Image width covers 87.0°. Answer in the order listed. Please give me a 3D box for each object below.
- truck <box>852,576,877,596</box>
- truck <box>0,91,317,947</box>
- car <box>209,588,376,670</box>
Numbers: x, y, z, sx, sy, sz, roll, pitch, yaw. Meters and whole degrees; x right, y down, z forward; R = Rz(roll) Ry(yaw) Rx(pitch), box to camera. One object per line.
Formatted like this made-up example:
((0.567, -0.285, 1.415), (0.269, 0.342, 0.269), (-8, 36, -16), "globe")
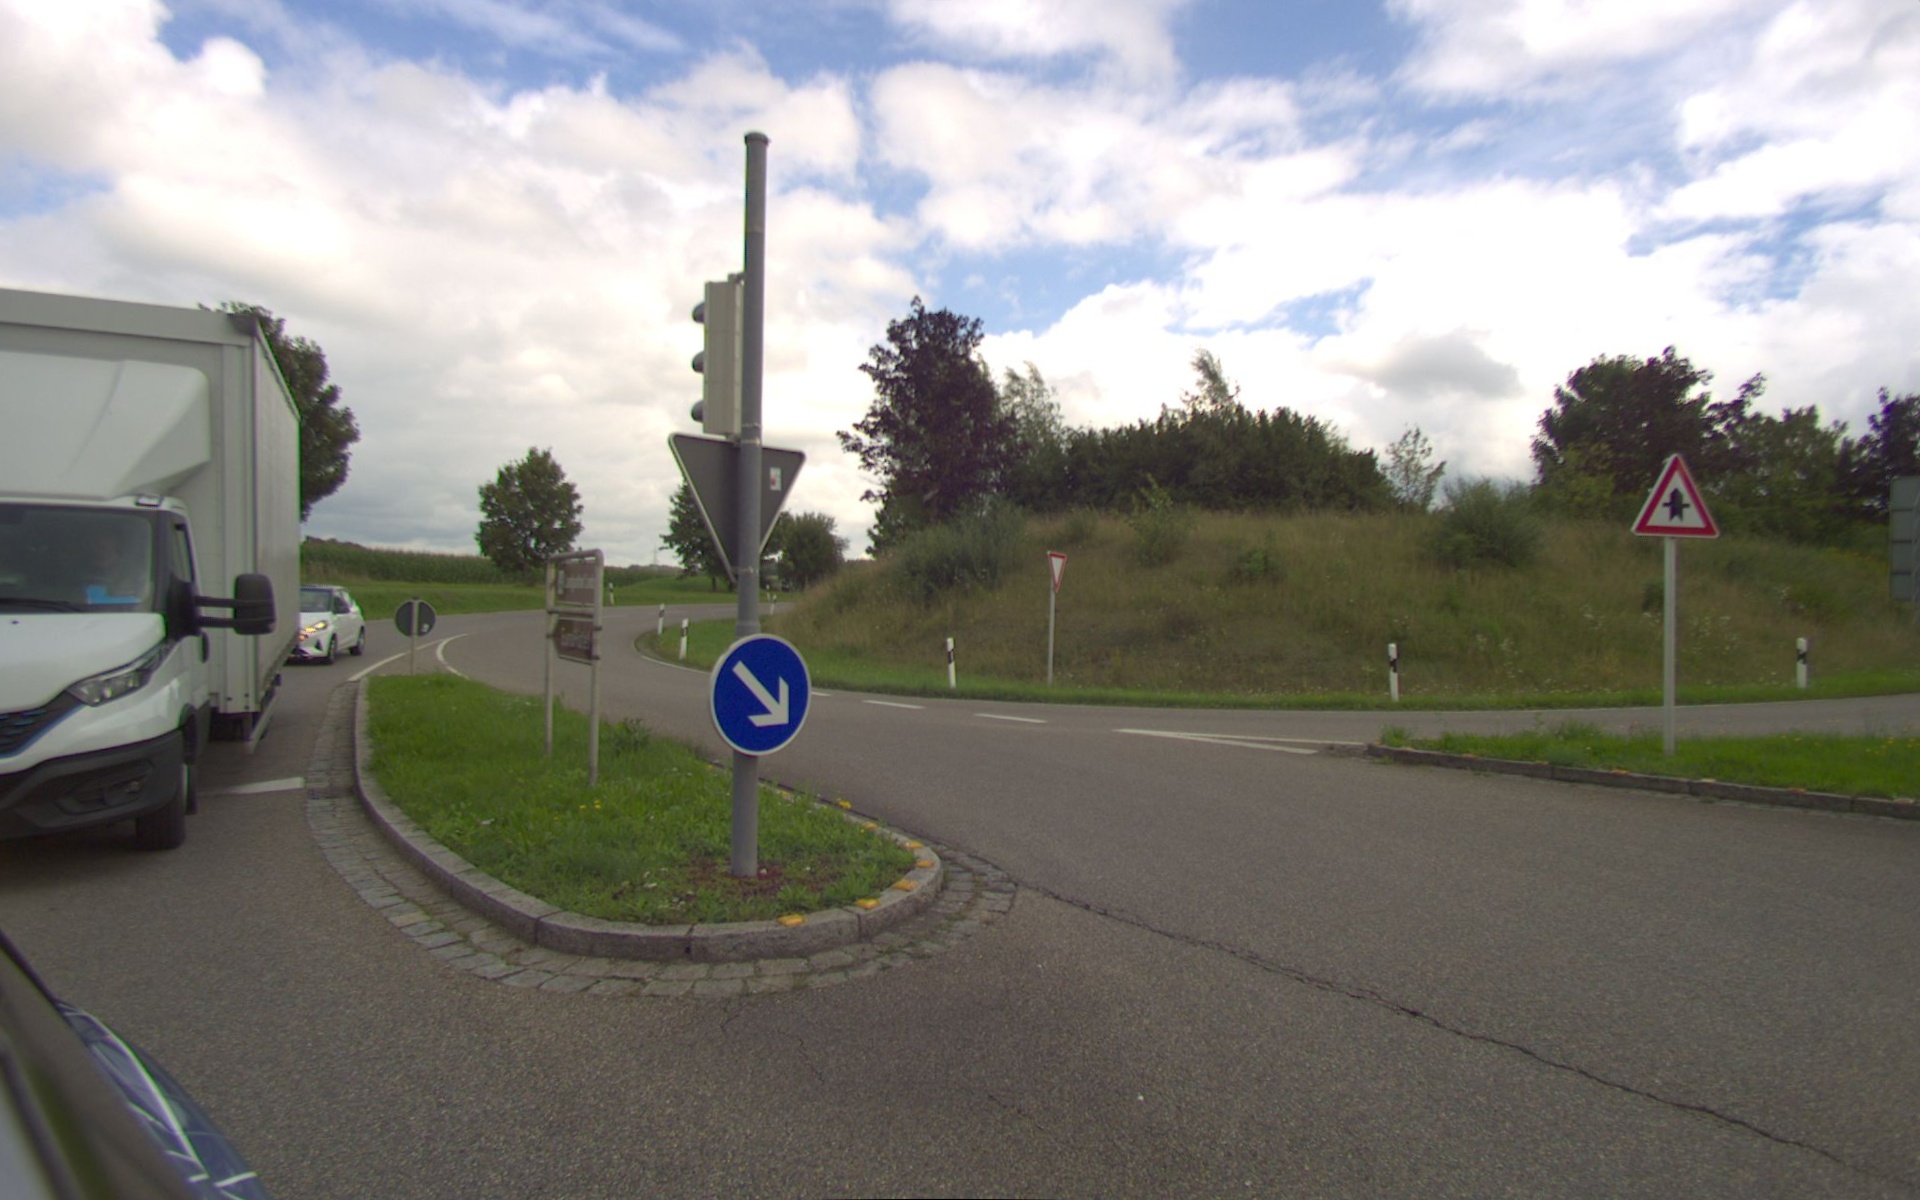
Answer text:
((-11.886, -1.716, 125.198), (2.254, 2.439, 6.398), (1, 1, -12), "truck")
((-7.047, -0.450, 7.983), (2.790, 3.792, 8.828), (1, 1, -29), "truck")
((-13.235, 0.530, 20.328), (1.779, 1.463, 4.012), (0, 0, -18), "car")
